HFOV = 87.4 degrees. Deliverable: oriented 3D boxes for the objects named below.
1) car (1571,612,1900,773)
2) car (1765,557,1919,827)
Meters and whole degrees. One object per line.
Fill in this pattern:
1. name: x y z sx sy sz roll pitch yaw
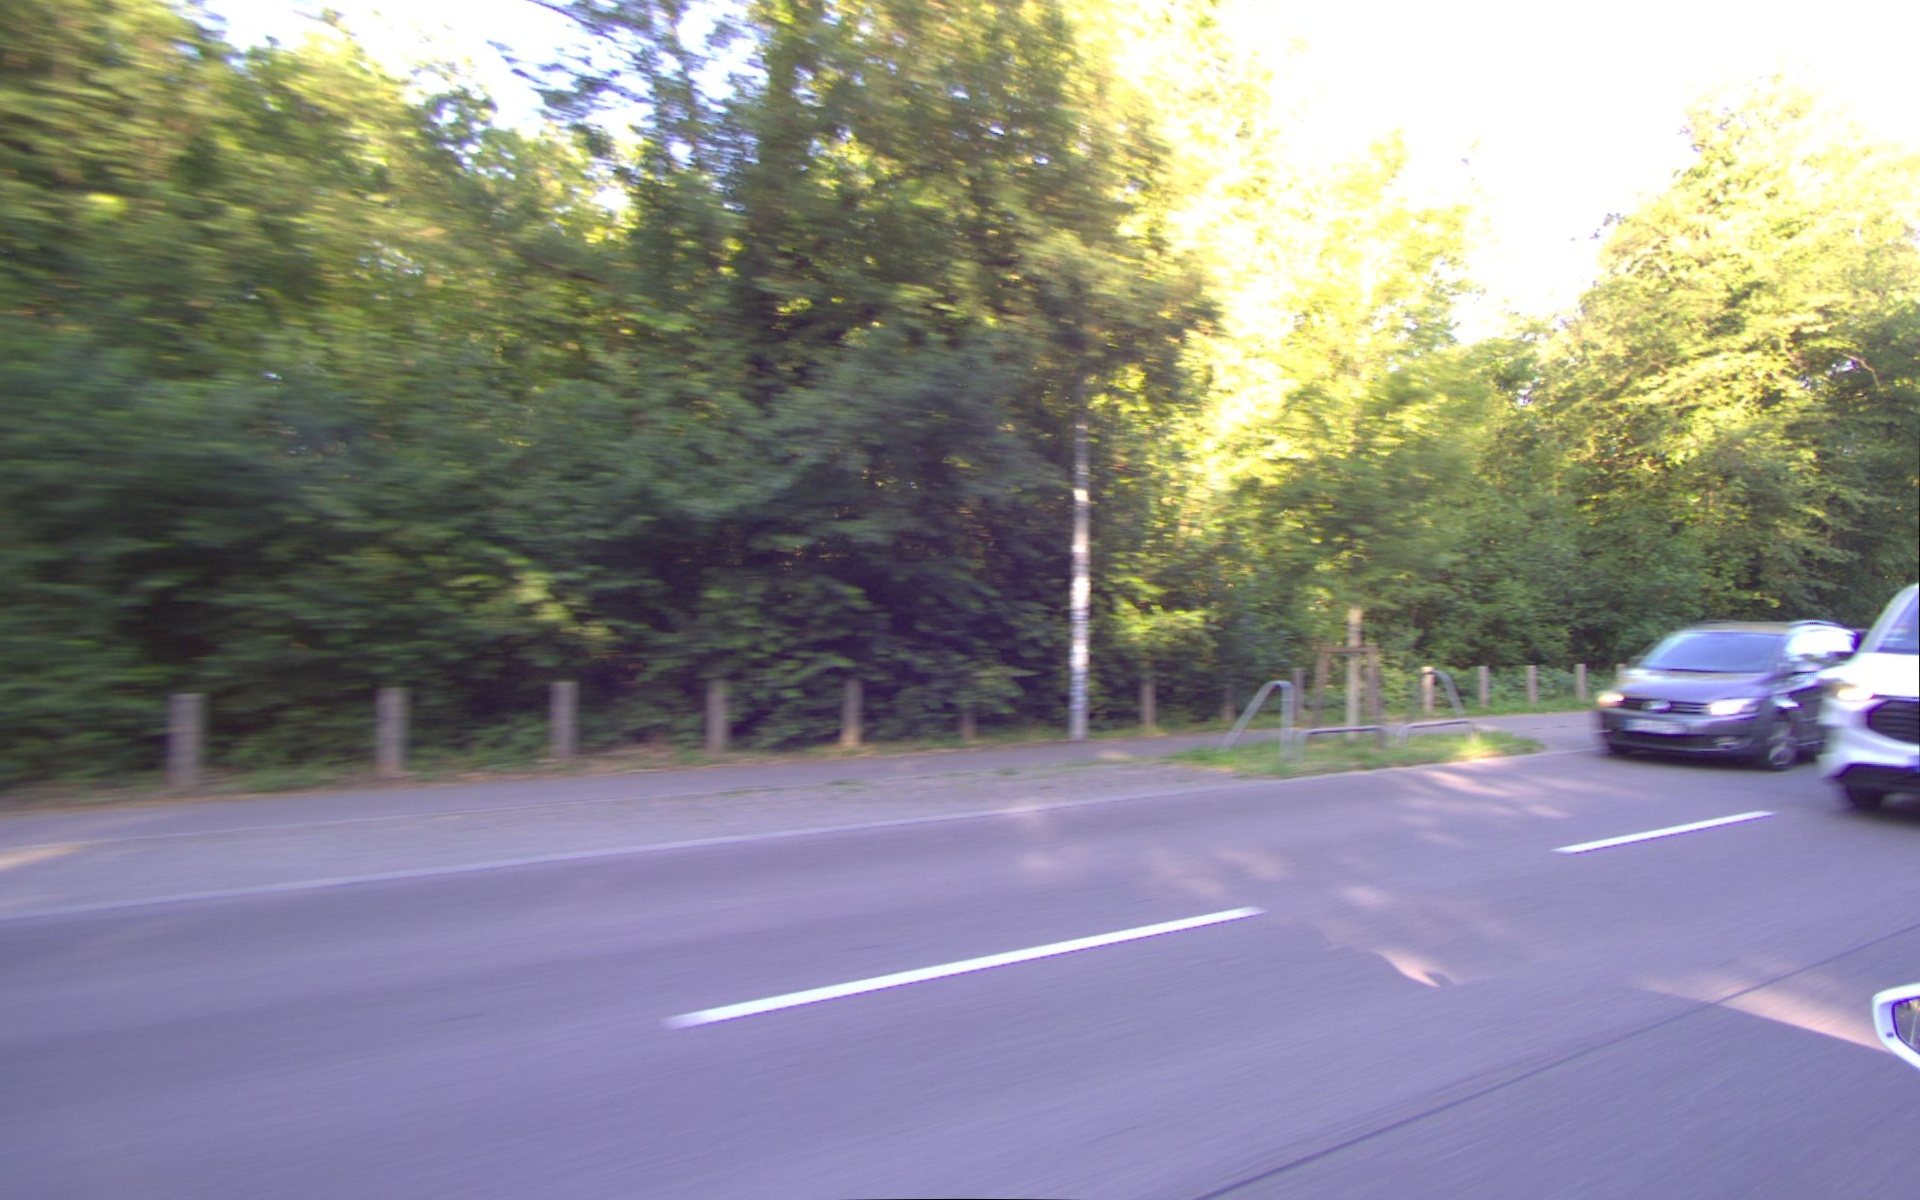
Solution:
1. car: 9.247 0.986 11.931 3.954 1.621 1.791 1 -1 -31
2. car: 9.240 0.730 8.526 4.856 1.987 2.196 1 -1 -30
